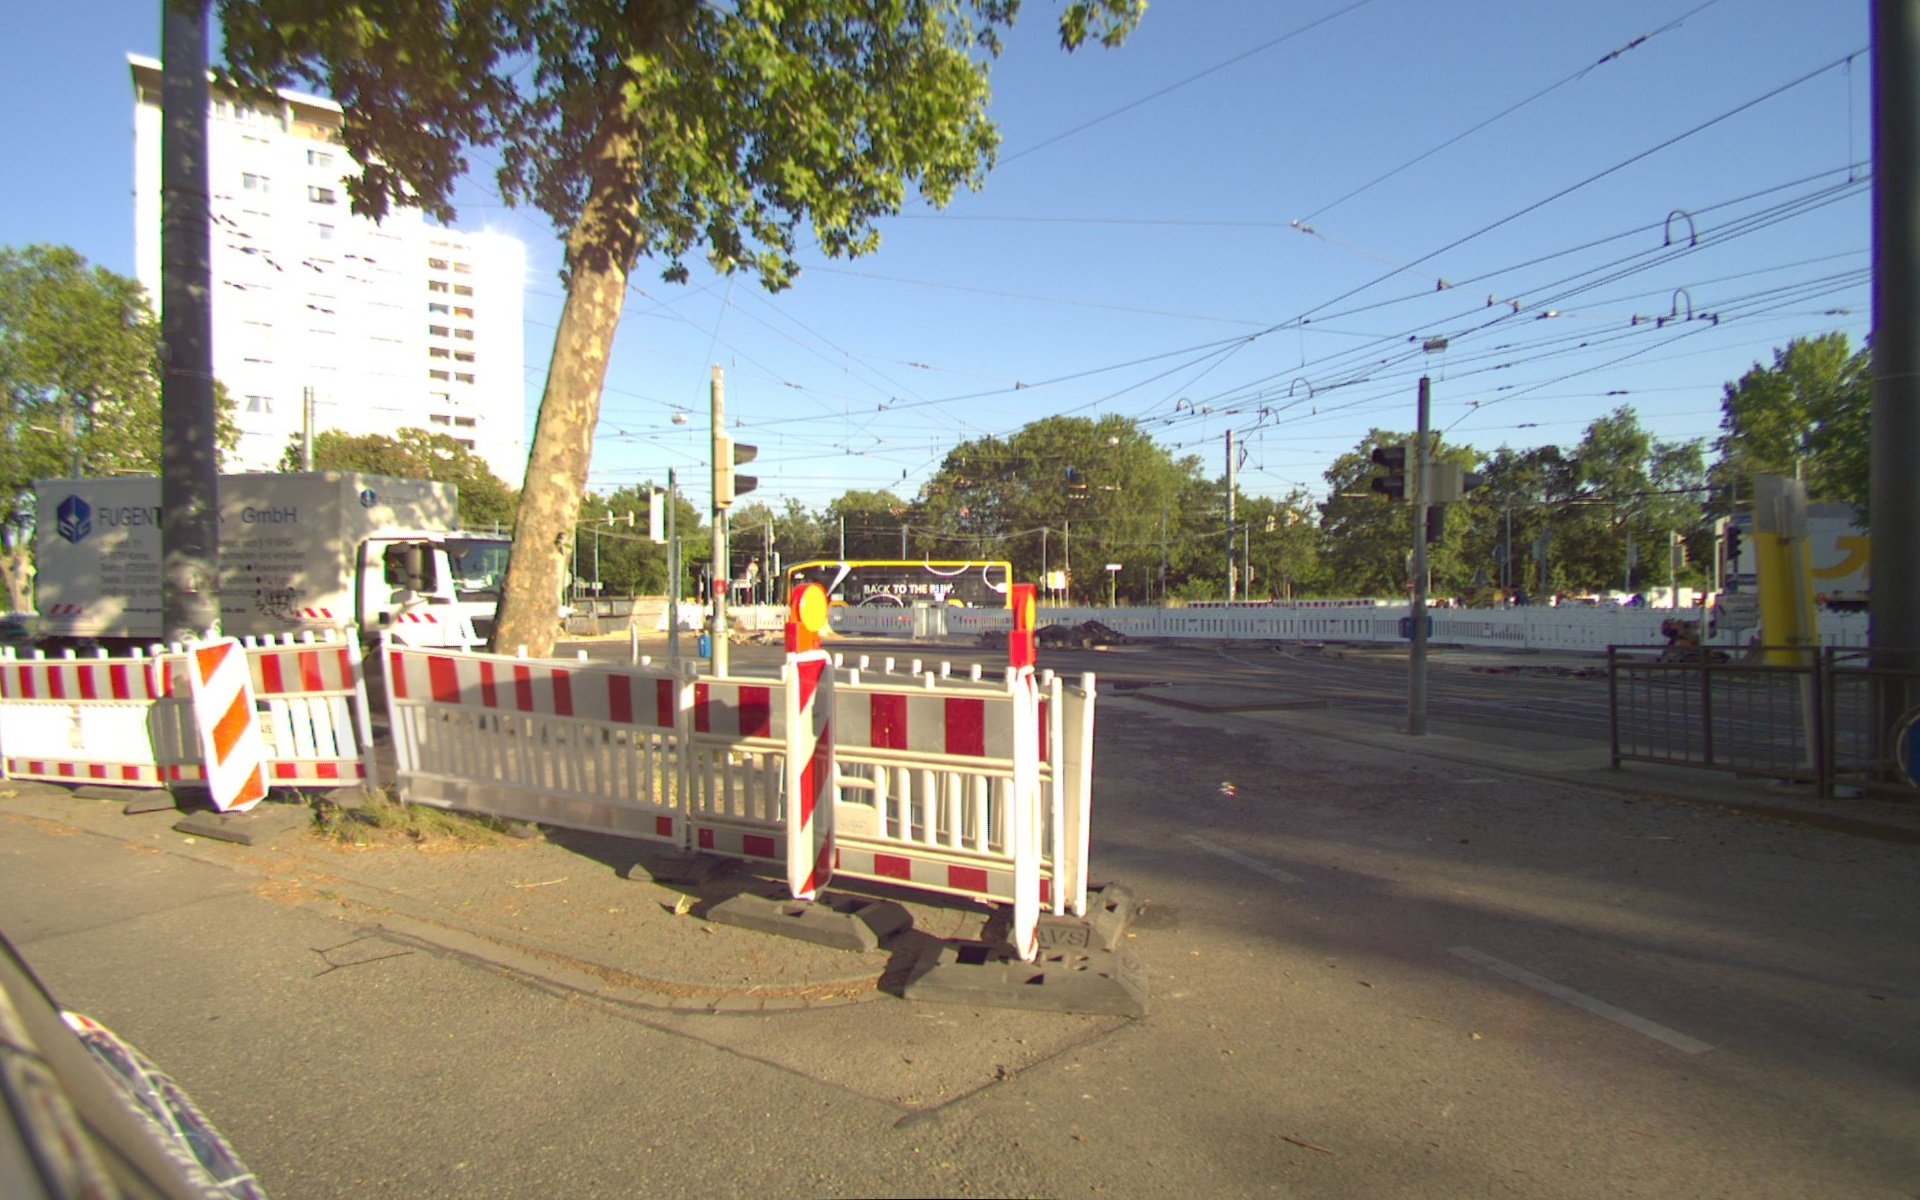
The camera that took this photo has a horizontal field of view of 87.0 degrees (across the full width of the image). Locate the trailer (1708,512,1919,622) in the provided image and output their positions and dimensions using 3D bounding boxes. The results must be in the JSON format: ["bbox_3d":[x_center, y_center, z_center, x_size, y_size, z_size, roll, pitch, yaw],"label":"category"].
[{"bbox_3d":[32.802,-1.190,36.948,9.106,3.826,2.899,0,0,-5],"label":"trailer"}]

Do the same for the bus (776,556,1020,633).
[{"bbox_3d":[-3.144,-0.310,52.141,12.090,3.751,3.097,0,0,-18],"label":"bus"}]

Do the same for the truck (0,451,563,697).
[{"bbox_3d":[-11.477,-0.326,17.045,8.893,3.568,2.810,-1,0,13],"label":"truck"}]

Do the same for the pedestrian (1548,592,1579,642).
[{"bbox_3d":[19.150,0.534,32.141,0.585,1.526,0.575,0,3,2],"label":"pedestrian"}]

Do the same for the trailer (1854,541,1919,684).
[{"bbox_3d":[15.804,0.173,14.274,1.965,2.131,4.361,0,0,-25],"label":"trailer"}]

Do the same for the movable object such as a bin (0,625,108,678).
[{"bbox_3d":[-16.998,0.952,18.895,1.396,0.924,0.938,-1,0,-12],"label":"movable object such as a bin"}]
